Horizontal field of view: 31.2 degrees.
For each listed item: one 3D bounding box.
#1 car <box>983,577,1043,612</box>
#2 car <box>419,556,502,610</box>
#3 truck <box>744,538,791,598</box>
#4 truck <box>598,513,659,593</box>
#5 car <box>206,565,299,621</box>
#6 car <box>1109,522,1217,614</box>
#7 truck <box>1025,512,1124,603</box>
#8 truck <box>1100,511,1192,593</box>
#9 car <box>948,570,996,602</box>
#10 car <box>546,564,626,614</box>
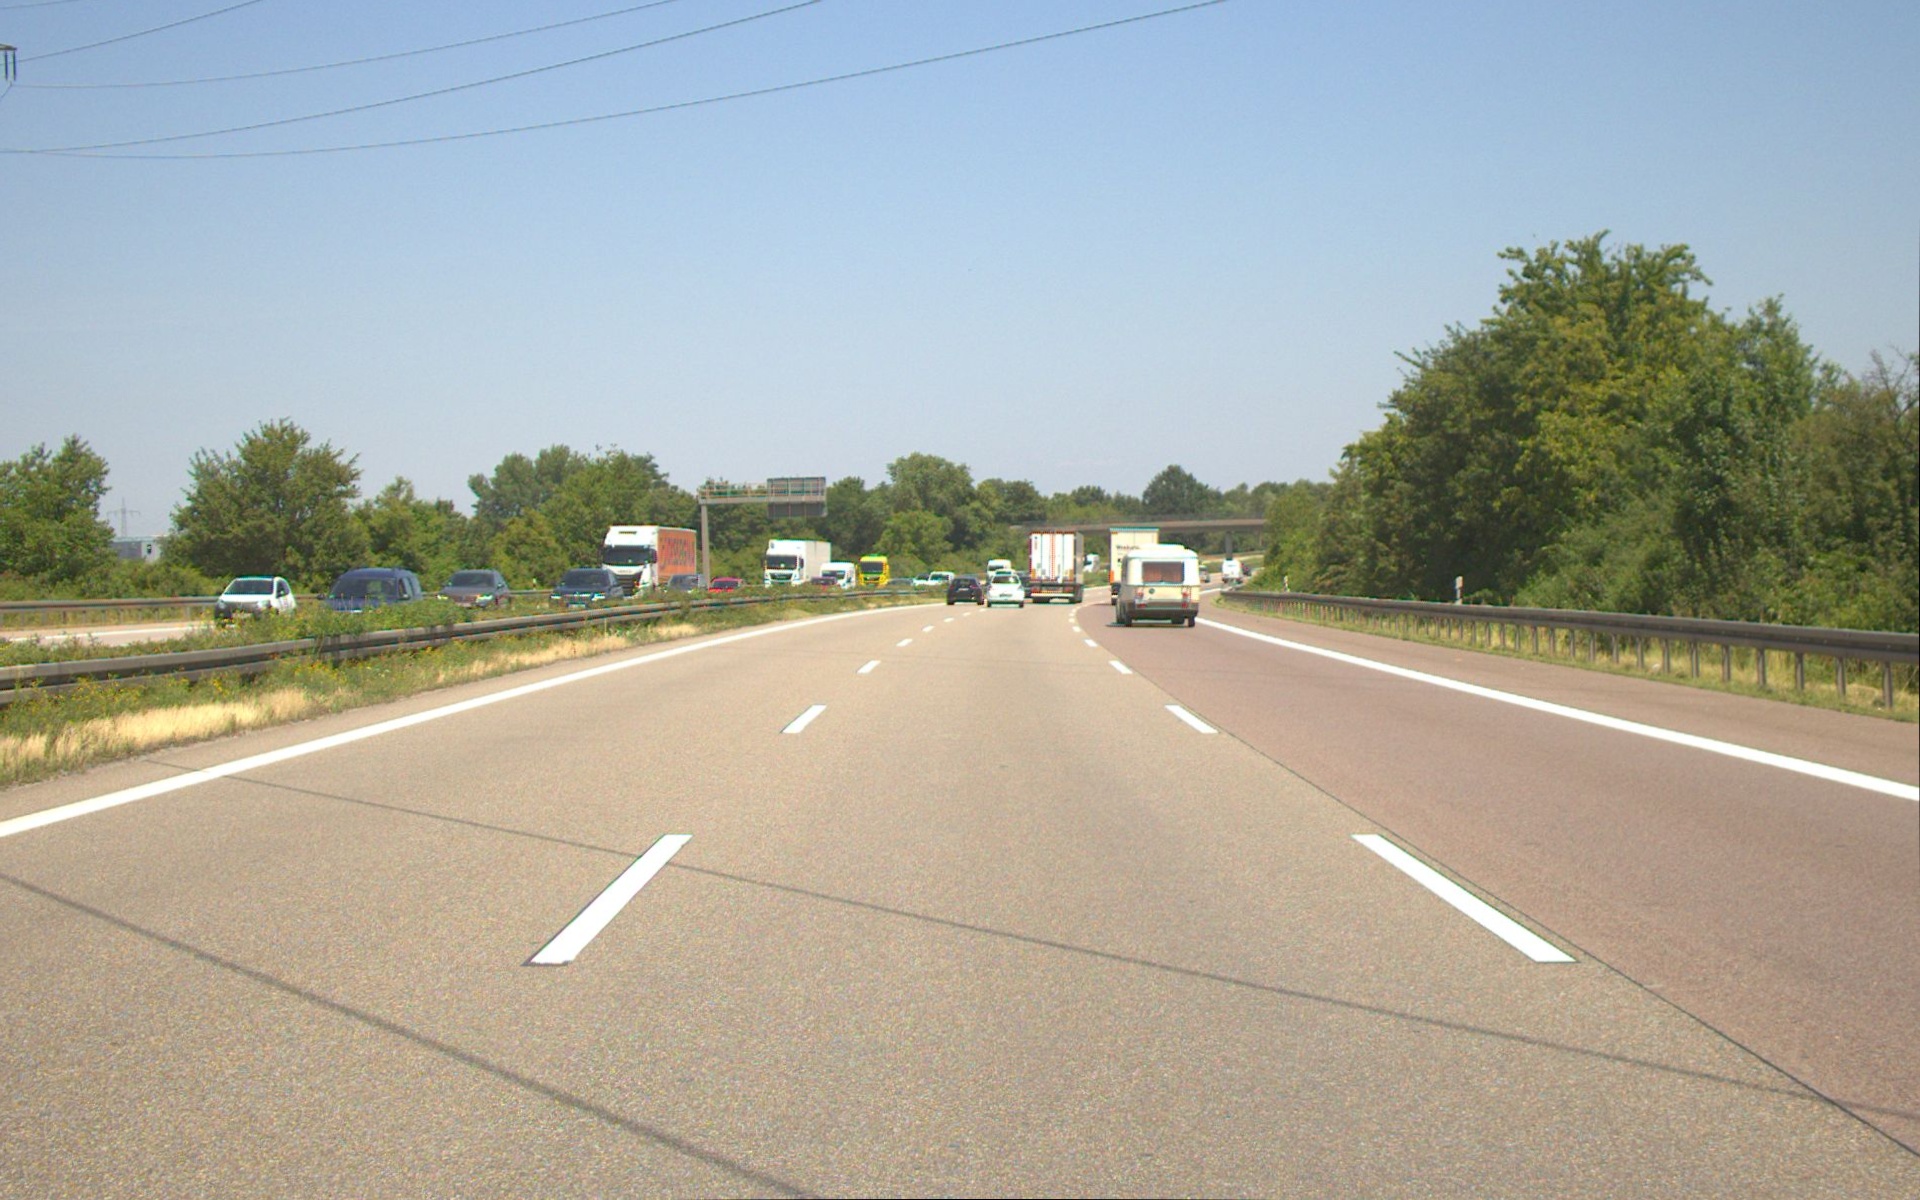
[{"bbox_3d":[2.452,-0.267,157.251,1.829,1.542,4.316,1,1,14],"label":"car"},{"bbox_3d":[-15.967,-0.570,110.062,1.993,1.612,4.412,0,1,0],"label":"car"},{"bbox_3d":[-13.401,-2.235,239.863,2.830,4.067,5.165,0,1,2],"label":"truck"},{"bbox_3d":[-16.804,-2.406,174.414,2.482,4.005,4.602,0,1,3],"label":"truck"},{"bbox_3d":[-19.521,-0.212,95.015,1.665,1.527,4.280,0,1,0],"label":"car"},{"bbox_3d":[5.401,-0.901,92.116,2.442,2.313,5.322,-1,2,-1],"label":"car"},{"bbox_3d":[6.681,-2.544,197.696,3.668,5.001,16.012,1,2,9],"label":"truck"},{"bbox_3d":[10.291,-2.736,188.491,3.182,4.289,16.011,1,2,10],"label":"truck"},{"bbox_3d":[0.644,-0.721,176.577,1.828,1.542,4.317,1,1,9],"label":"car"},{"bbox_3d":[-11.519,-0.360,106.167,1.993,1.430,4.412,0,1,0],"label":"car"}]
